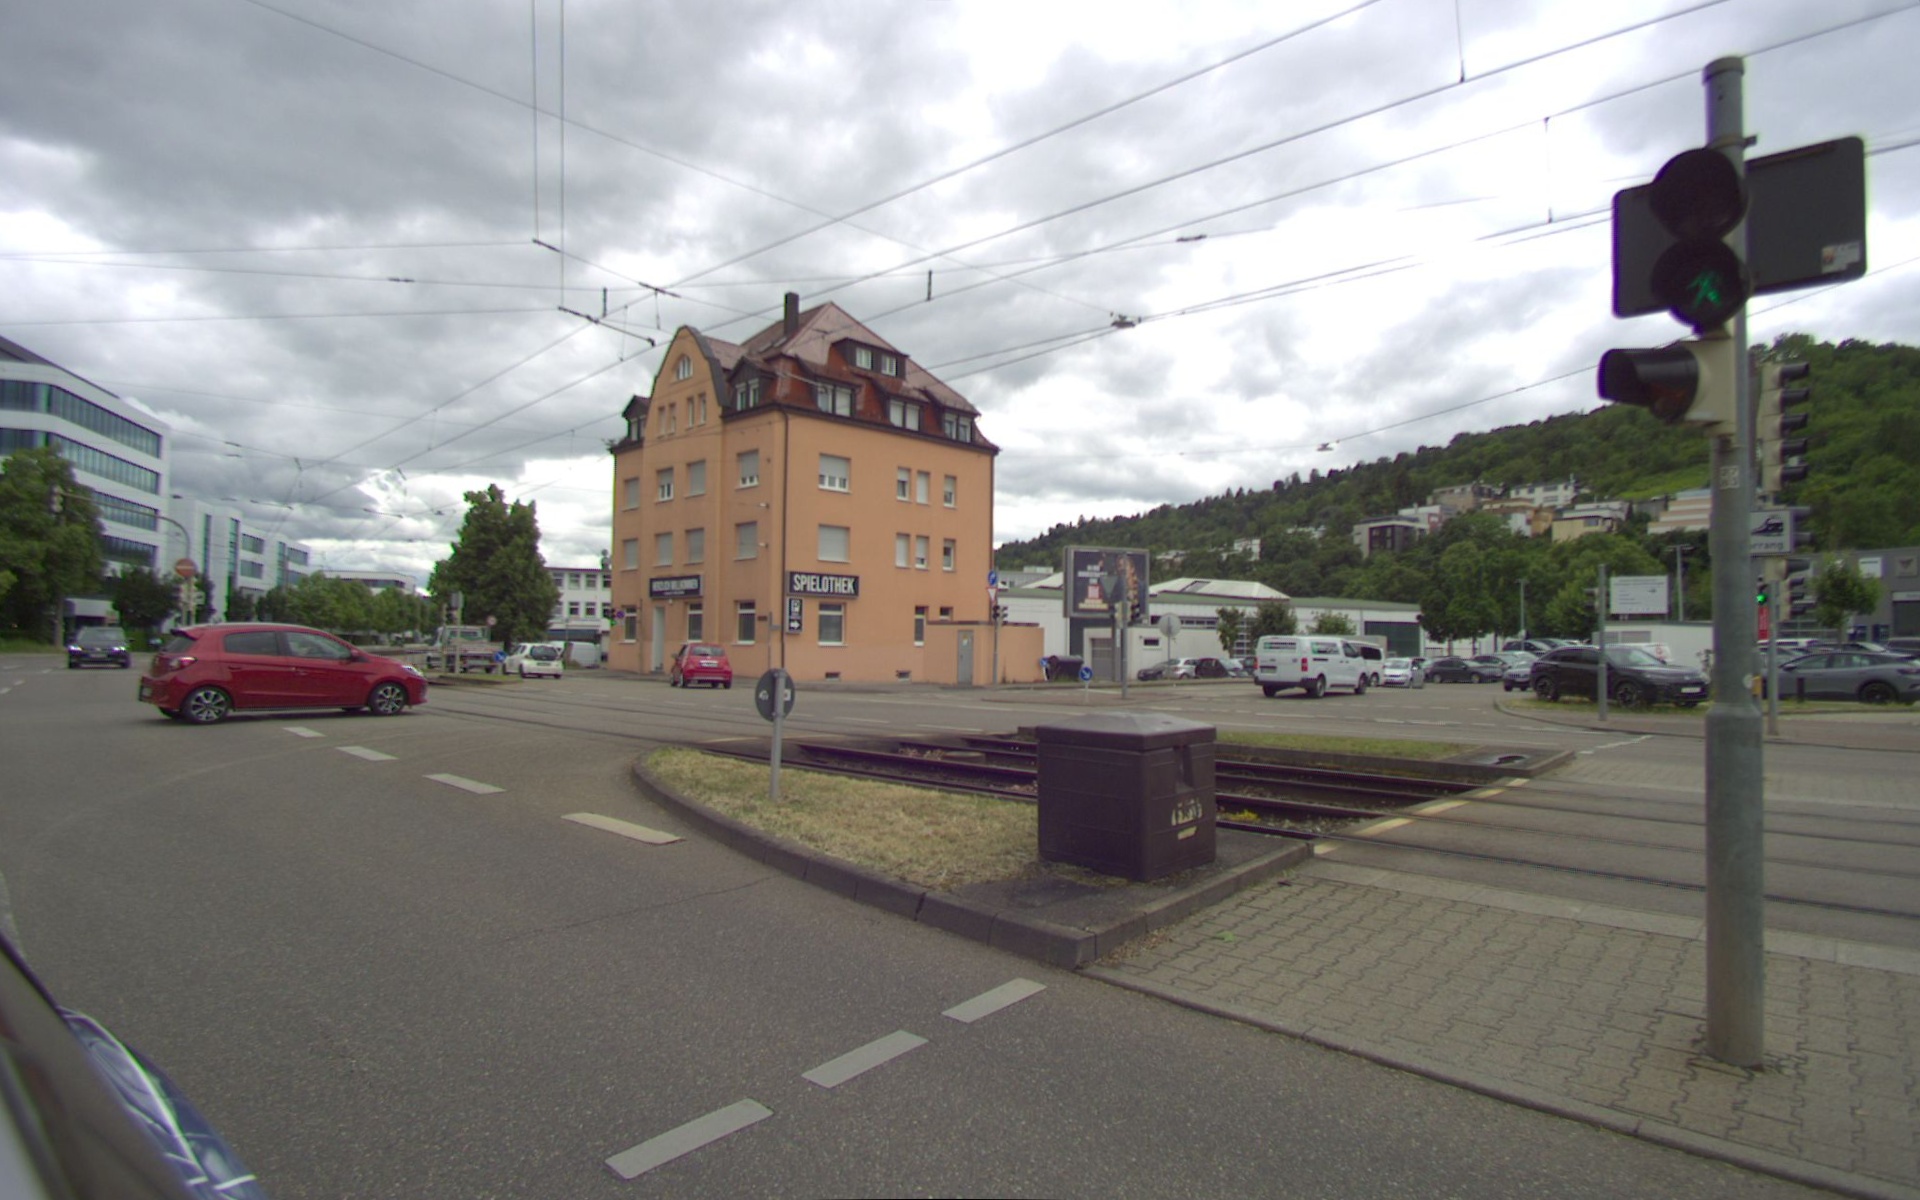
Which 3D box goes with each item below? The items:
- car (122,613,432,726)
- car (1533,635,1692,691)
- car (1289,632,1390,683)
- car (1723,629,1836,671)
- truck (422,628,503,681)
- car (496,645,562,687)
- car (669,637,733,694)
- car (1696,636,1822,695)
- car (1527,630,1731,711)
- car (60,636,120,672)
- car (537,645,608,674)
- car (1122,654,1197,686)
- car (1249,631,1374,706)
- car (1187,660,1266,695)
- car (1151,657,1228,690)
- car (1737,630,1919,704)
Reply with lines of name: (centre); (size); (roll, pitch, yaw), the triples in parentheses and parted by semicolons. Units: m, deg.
car: (-10.646, 1.059, 15.959); (1.767, 1.541, 3.688); (0, -3, 41)
car: (25.638, 2.490, 39.995); (1.965, 2.029, 5.034); (3, -4, -22)
car: (19.604, 2.912, 52.265); (4.498, 2.259, 1.978); (3, 0, 33)
car: (41.709, 2.526, 51.592); (1.821, 1.807, 4.014); (3, 0, -24)
truck: (-24.921, 2.693, 50.565); (2.284, 2.440, 5.664); (5, -4, -39)
car: (-17.952, 2.769, 42.055); (1.573, 1.431, 3.379); (-2, -5, -40)
car: (-8.746, 2.155, 33.953); (1.674, 1.536, 4.013); (2, 1, -20)
car: (30.088, 2.488, 38.090); (4.932, 2.029, 2.006); (4, -5, -30)
car: (16.776, 1.697, 25.642); (1.967, 1.652, 4.010); (-2, 1, -13)
car: (-33.949, 2.076, 39.487); (1.604, 1.342, 3.177); (2, -3, -43)
car: (-30.357, 4.598, 79.509); (1.734, 2.117, 6.265); (-1, -2, 17)
car: (12.874, 4.524, 65.403); (4.433, 1.853, 2.006); (3, 0, -29)
car: (11.473, 2.134, 32.889); (2.006, 2.056, 4.761); (2, 1, 44)
car: (16.102, 4.691, 60.997); (4.433, 1.853, 2.006); (3, 0, -31)
car: (14.373, 4.601, 63.303); (4.433, 1.853, 2.006); (3, 0, -30)
car: (24.848, 1.845, 28.689); (1.967, 1.718, 4.010); (3, 0, -35)
